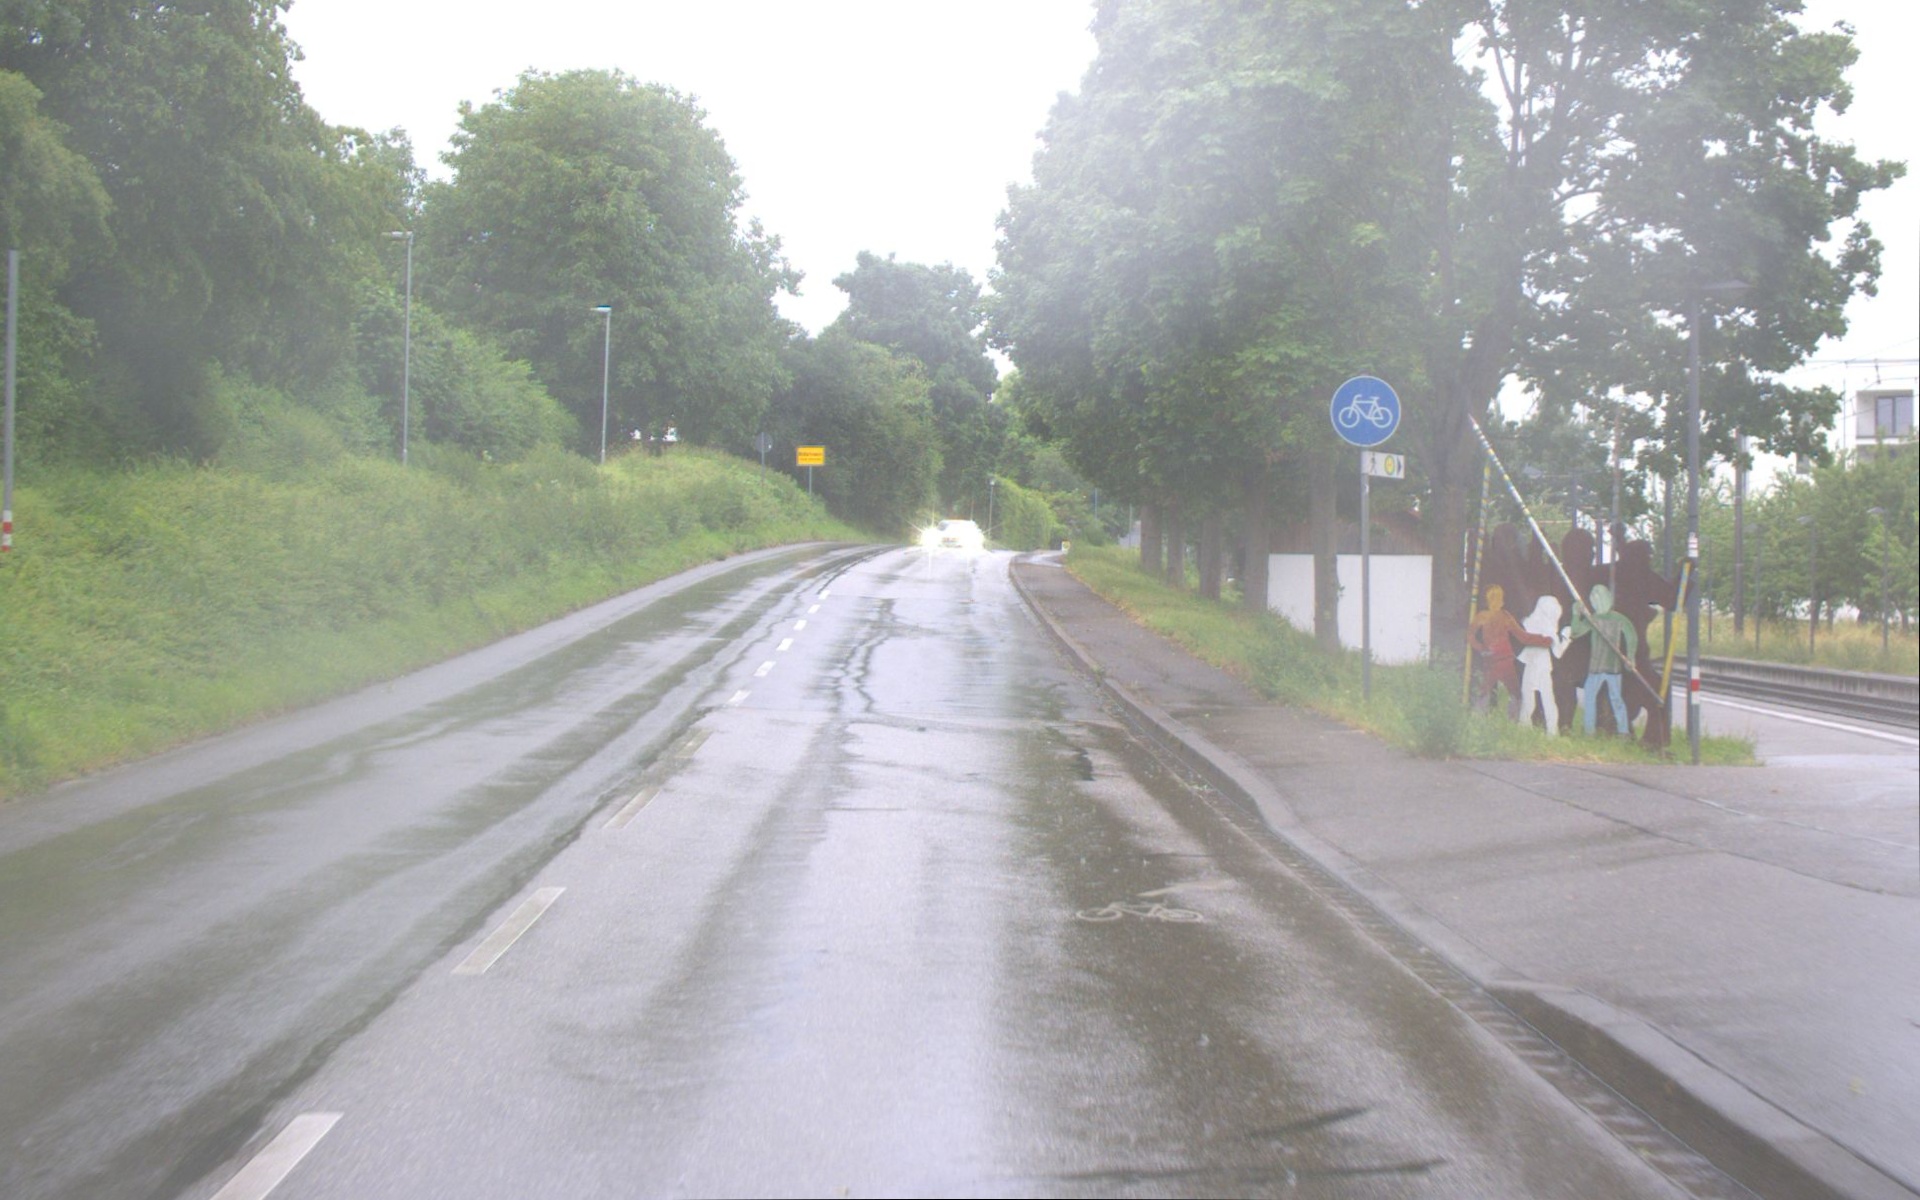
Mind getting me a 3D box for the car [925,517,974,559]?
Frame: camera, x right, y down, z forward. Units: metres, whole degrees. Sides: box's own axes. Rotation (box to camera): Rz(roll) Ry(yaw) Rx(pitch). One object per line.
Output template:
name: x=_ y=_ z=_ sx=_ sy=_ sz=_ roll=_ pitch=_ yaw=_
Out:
car: x=-0.382 y=-2.386 z=131.739 sx=1.658 sy=1.538 sz=4.088 roll=1 pitch=1 yaw=3
